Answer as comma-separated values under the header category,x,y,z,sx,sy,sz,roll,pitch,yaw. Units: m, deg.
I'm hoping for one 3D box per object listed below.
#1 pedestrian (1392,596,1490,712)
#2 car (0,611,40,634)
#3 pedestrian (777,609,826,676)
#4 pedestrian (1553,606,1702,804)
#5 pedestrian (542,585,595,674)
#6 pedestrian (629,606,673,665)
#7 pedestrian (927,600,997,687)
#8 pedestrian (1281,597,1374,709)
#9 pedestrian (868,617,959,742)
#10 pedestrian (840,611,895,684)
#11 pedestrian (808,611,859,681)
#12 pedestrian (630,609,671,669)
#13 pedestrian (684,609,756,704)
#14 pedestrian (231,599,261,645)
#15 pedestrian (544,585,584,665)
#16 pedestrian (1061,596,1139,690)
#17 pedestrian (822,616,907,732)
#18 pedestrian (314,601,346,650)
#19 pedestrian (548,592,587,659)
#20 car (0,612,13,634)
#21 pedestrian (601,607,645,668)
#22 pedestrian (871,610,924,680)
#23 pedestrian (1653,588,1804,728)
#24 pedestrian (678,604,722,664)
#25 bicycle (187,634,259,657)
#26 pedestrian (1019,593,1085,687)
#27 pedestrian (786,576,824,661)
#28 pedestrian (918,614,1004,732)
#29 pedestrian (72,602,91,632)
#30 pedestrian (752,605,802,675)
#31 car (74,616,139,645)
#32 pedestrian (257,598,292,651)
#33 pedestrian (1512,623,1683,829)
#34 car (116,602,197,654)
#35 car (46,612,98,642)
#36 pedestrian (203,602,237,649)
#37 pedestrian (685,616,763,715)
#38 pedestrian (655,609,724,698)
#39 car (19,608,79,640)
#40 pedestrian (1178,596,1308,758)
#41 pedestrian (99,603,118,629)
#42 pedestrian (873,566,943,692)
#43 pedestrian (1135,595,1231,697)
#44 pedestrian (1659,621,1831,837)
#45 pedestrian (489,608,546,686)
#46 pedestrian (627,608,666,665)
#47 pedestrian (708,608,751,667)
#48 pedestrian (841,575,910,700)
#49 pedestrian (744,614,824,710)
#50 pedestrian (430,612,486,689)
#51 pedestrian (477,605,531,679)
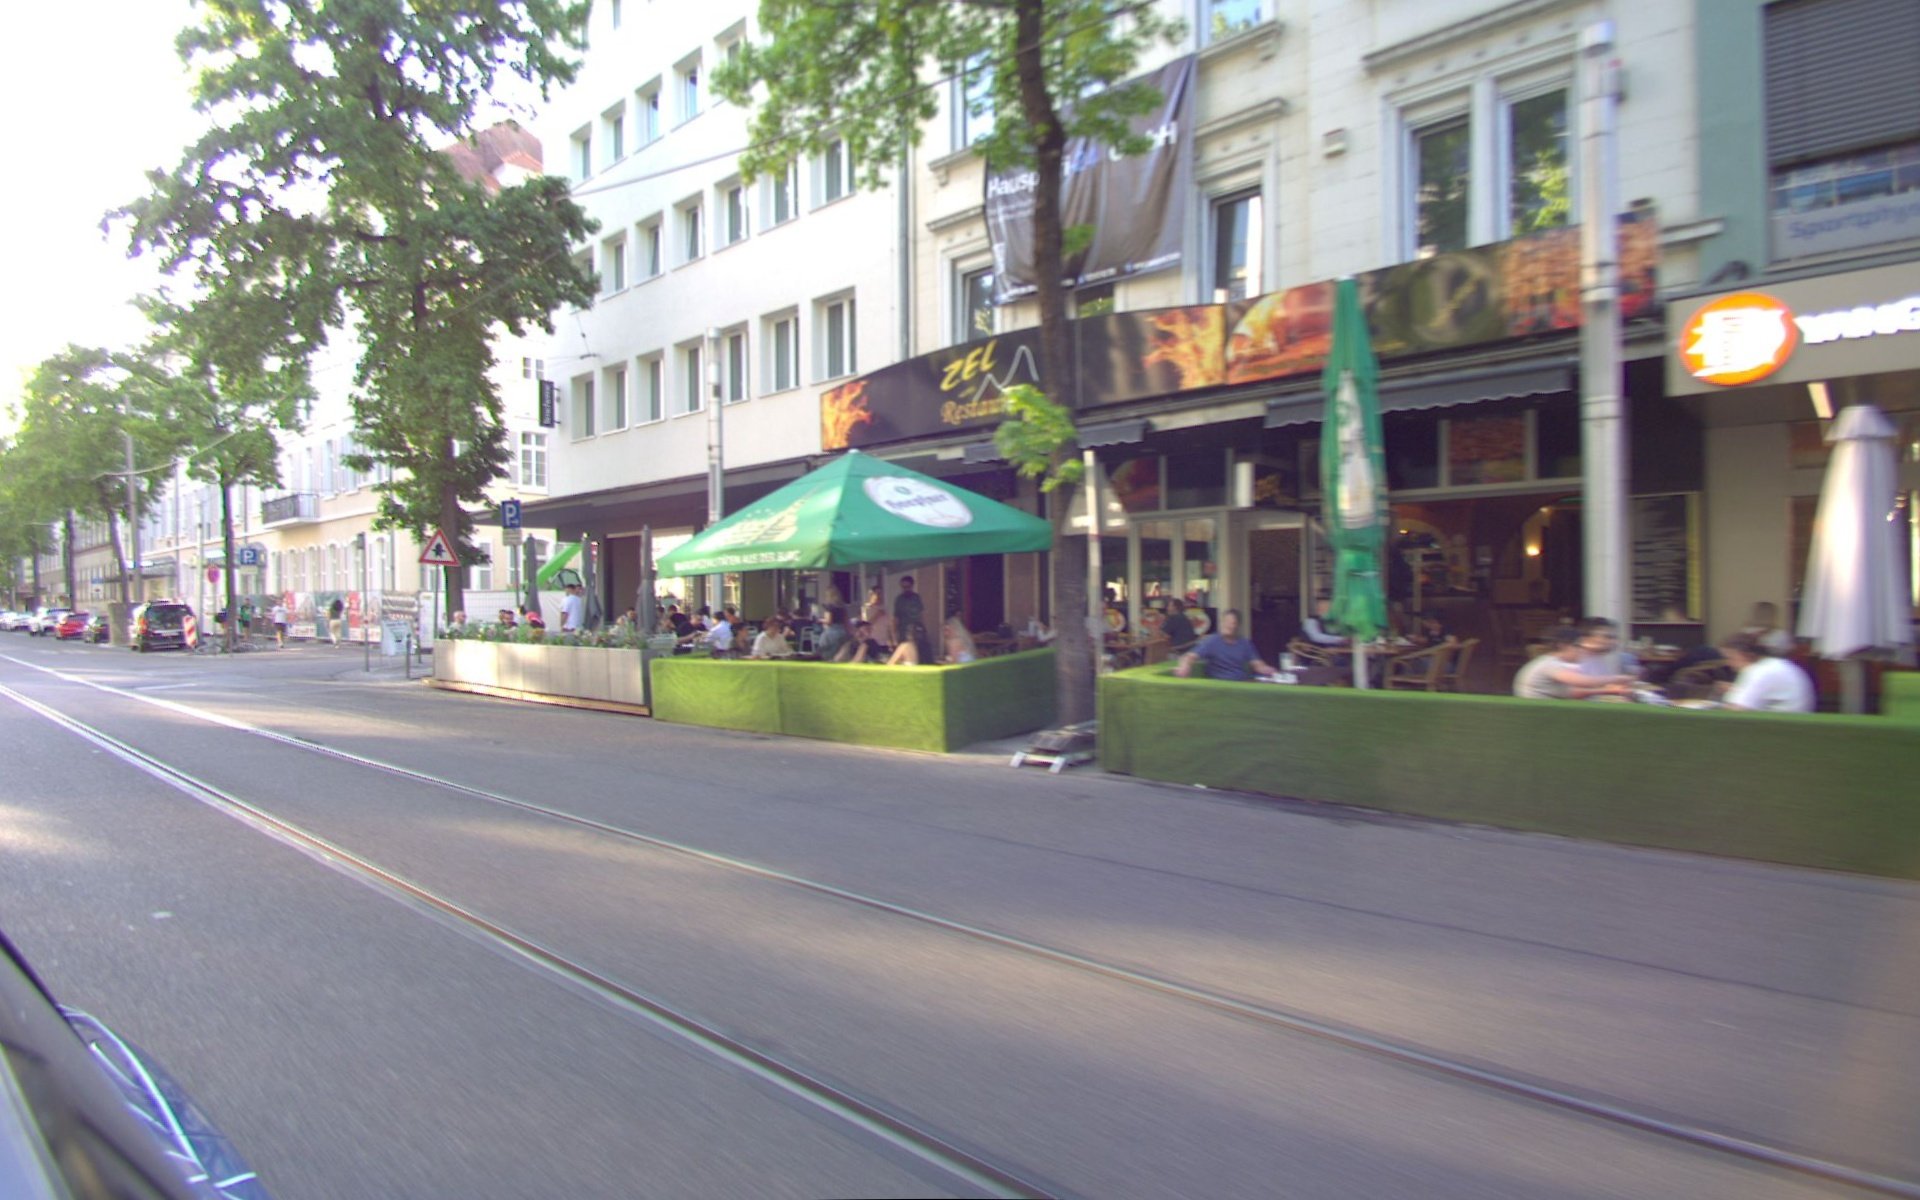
category,x,y,z,sx,sy,sz,roll,pitch,yaw
pedestrian,5.281,0.570,11.119,0.788,1.176,0.693,-1,3,41
car,-68.344,1.636,73.474,4.616,1.477,1.872,-1,2,43
pedestrian,-2.901,0.764,18.499,0.687,1.170,0.546,-1,1,43
pedestrian,4.855,0.718,7.358,0.797,1.302,0.650,-1,3,41
pedestrian,-8.243,0.604,21.322,0.686,1.805,0.749,-1,1,38
pedestrian,-7.030,0.799,23.044,0.738,1.279,0.638,-1,1,43
pedestrian,0.031,0.650,15.433,0.798,1.251,0.662,-1,1,41
pedestrian,4.333,0.599,11.921,0.788,1.222,0.729,-1,3,41
pedestrian,-0.504,0.832,10.955,0.697,1.254,0.612,-1,3,41
pedestrian,-1.569,0.794,17.203,0.687,1.182,0.595,-1,1,43
pedestrian,-2.227,0.796,17.803,0.687,1.170,0.546,-1,1,43
pedestrian,-6.741,0.839,22.017,0.687,1.245,0.546,-1,1,43
pedestrian,-3.618,0.832,15.258,0.781,1.357,0.700,-1,1,44
pedestrian,-29.186,0.888,41.368,0.876,1.826,0.711,-1,2,42
pedestrian,-9.290,0.568,23.755,0.675,1.829,0.766,-3,1,-33
pedestrian,1.996,0.593,14.412,0.788,1.241,0.729,-1,3,41
pedestrian,-1.110,0.840,11.765,0.697,1.254,0.612,-1,3,41
pedestrian,-21.684,0.869,34.827,0.967,1.669,0.699,-2,-1,44
pedestrian,-10.498,0.668,27.044,0.851,1.754,0.800,-1,-1,-29
car,-82.660,1.995,86.593,4.764,1.754,1.927,-1,2,42
pedestrian,-7.522,0.824,22.609,0.727,1.291,0.620,-1,1,43
pedestrian,-1.096,0.767,17.704,0.687,1.167,0.595,-1,1,43
pedestrian,7.225,0.513,9.518,1.064,1.197,0.745,-1,3,42
pedestrian,-5.323,0.690,20.737,0.687,1.170,0.546,-1,1,43
bicycle,-24.664,1.515,33.873,1.775,0.613,1.283,-2,1,-45
pedestrian,1.363,0.575,14.959,0.697,1.319,0.612,-1,3,41
pedestrian,-3.458,0.403,22.514,0.754,1.833,0.688,-2,1,-9
pedestrian,0.013,0.814,11.555,0.697,1.254,0.612,-1,3,41
pedestrian,-54.334,1.043,62.577,0.933,1.755,0.736,-1,2,43
pedestrian,-3.524,0.758,19.487,0.687,1.308,0.595,-1,1,43
car,-41.064,1.440,48.655,4.506,1.254,1.700,-1,3,42
pedestrian,-24.428,0.870,36.058,0.984,1.805,0.766,-1,2,44
pedestrian,4.349,0.809,6.909,0.872,1.253,0.650,-1,3,42
car,-31.246,1.063,39.333,4.560,1.846,1.837,-1,1,44
car,-47.730,1.419,54.366,4.141,1.416,1.642,-1,3,43
pedestrian,-29.893,1.019,40.864,0.884,1.795,0.856,-1,2,42
pedestrian,-3.239,0.873,13.898,0.772,1.269,0.700,-1,1,44
pedestrian,-4.244,0.817,15.873,0.807,1.321,0.682,-1,1,43
car,-54.878,1.434,60.942,4.946,1.701,1.847,-1,2,39
pedestrian,2.592,0.668,9.270,0.872,1.353,0.746,-1,3,41
pedestrian,-53.442,1.014,63.499,0.933,1.592,0.736,-1,2,42
pedestrian,-0.761,0.411,14.783,0.697,1.770,0.670,-1,1,44
pedestrian,2.953,0.585,13.412,0.944,1.246,0.769,-1,3,41
pedestrian,4.930,0.760,6.356,0.797,1.202,0.650,-1,3,41
pedestrian,-8.339,0.870,19.084,0.807,1.397,0.682,-1,1,43
pedestrian,-7.158,0.829,23.087,0.687,1.245,0.546,-1,1,43
pedestrian,-4.779,0.763,20.990,0.687,1.170,0.546,-1,1,43
pedestrian,-1.191,0.508,14.234,0.697,1.683,0.612,-1,1,41
pedestrian,-2.492,0.849,14.299,0.869,1.269,0.700,-1,1,44
pedestrian,-9.608,0.944,19.375,0.807,1.397,0.682,-1,1,43
pedestrian,-9.081,0.820,20.142,0.807,1.397,0.682,-1,1,43
